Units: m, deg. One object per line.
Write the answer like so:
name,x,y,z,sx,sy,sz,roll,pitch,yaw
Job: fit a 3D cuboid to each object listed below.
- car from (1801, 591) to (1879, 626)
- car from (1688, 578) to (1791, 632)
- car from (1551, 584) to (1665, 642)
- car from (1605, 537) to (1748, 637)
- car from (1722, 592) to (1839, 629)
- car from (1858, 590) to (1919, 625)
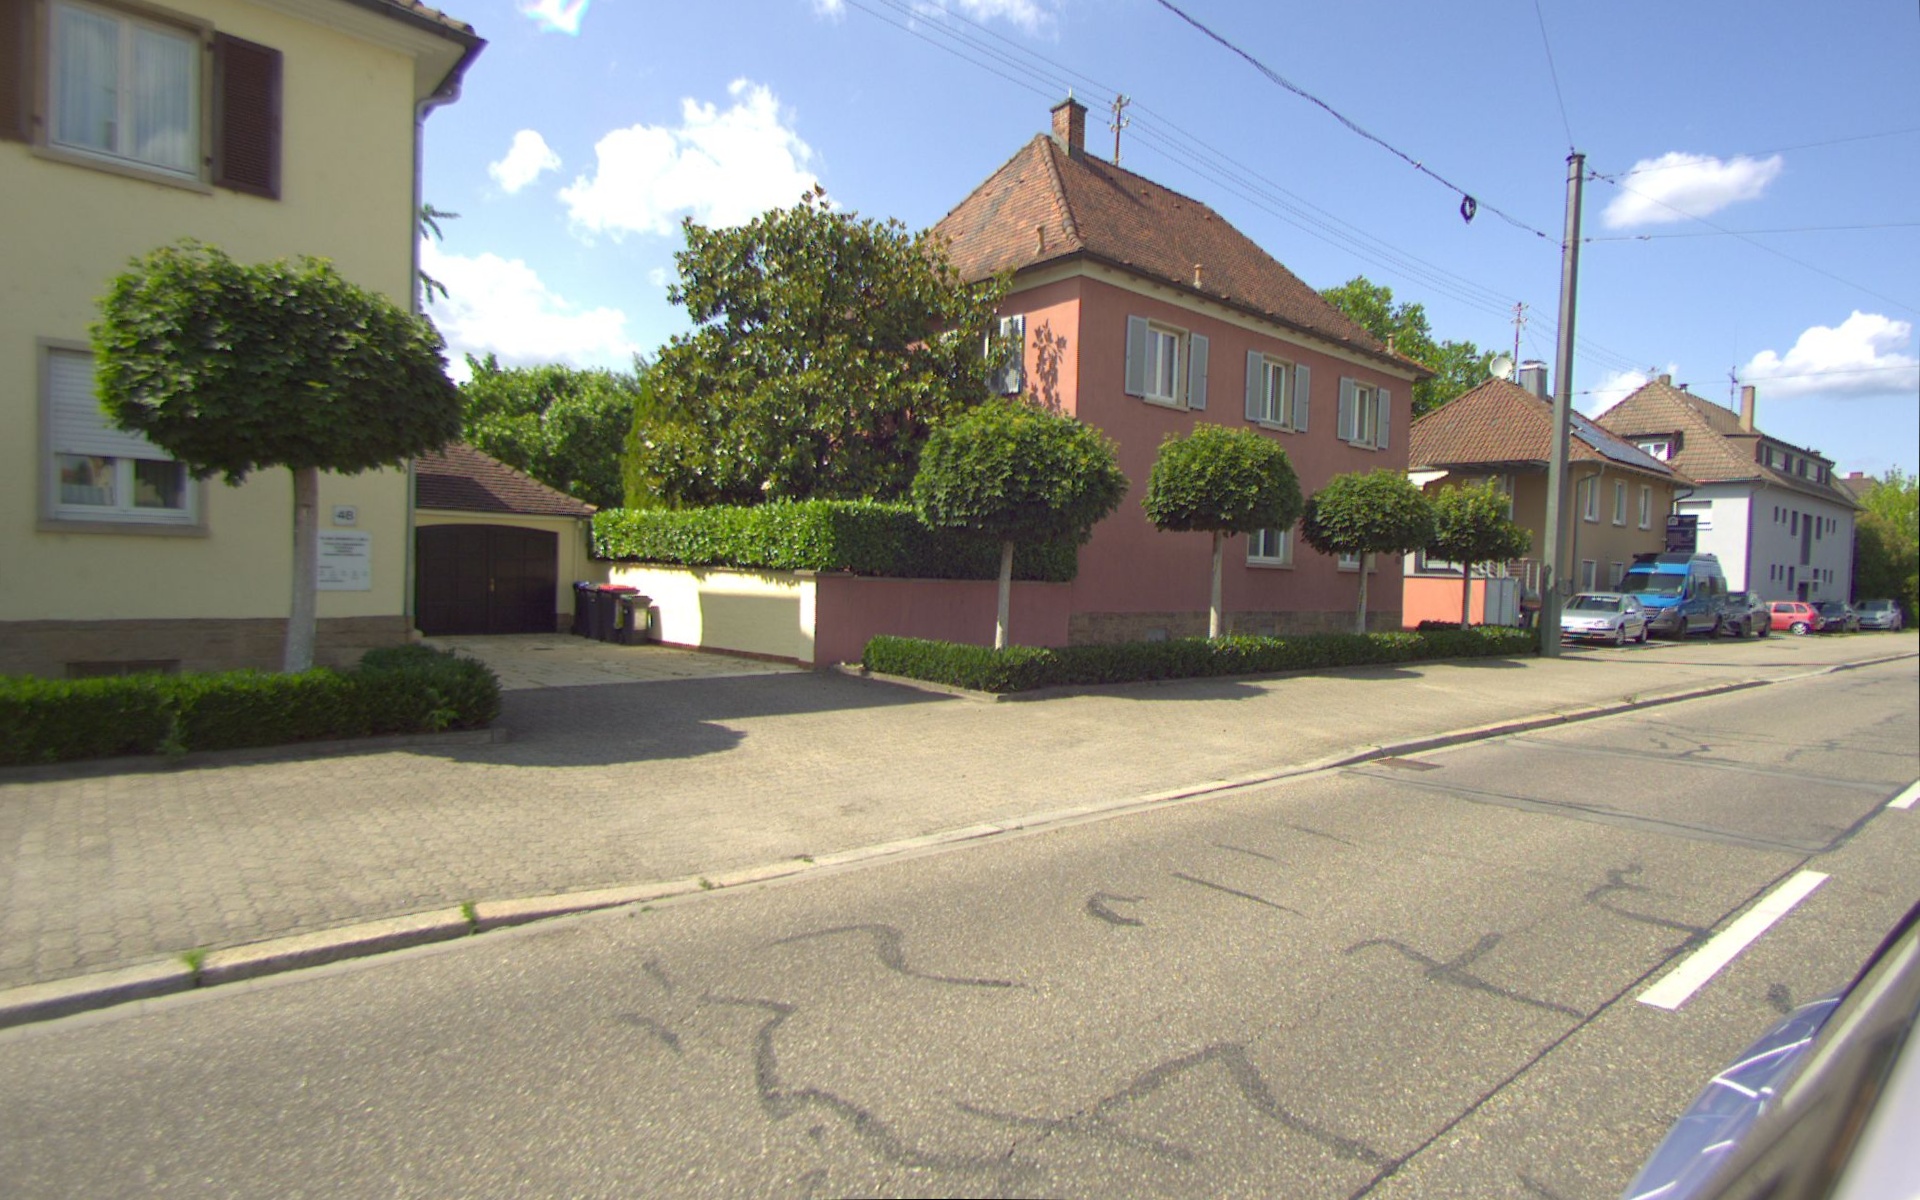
car,40.461,0.383,46.489,4.769,1.441,1.804,0,3,-38
car,28.221,0.185,36.585,4.776,1.732,1.841,1,3,-39
car,18.237,0.311,28.398,4.277,1.426,1.651,-1,3,-43
car,23.342,-0.413,32.875,6.131,2.967,2.157,0,1,-38
car,35.406,0.414,43.749,1.696,1.397,3.657,-1,2,-40
car,48.193,0.340,52.481,4.685,1.667,1.761,0,3,-41
